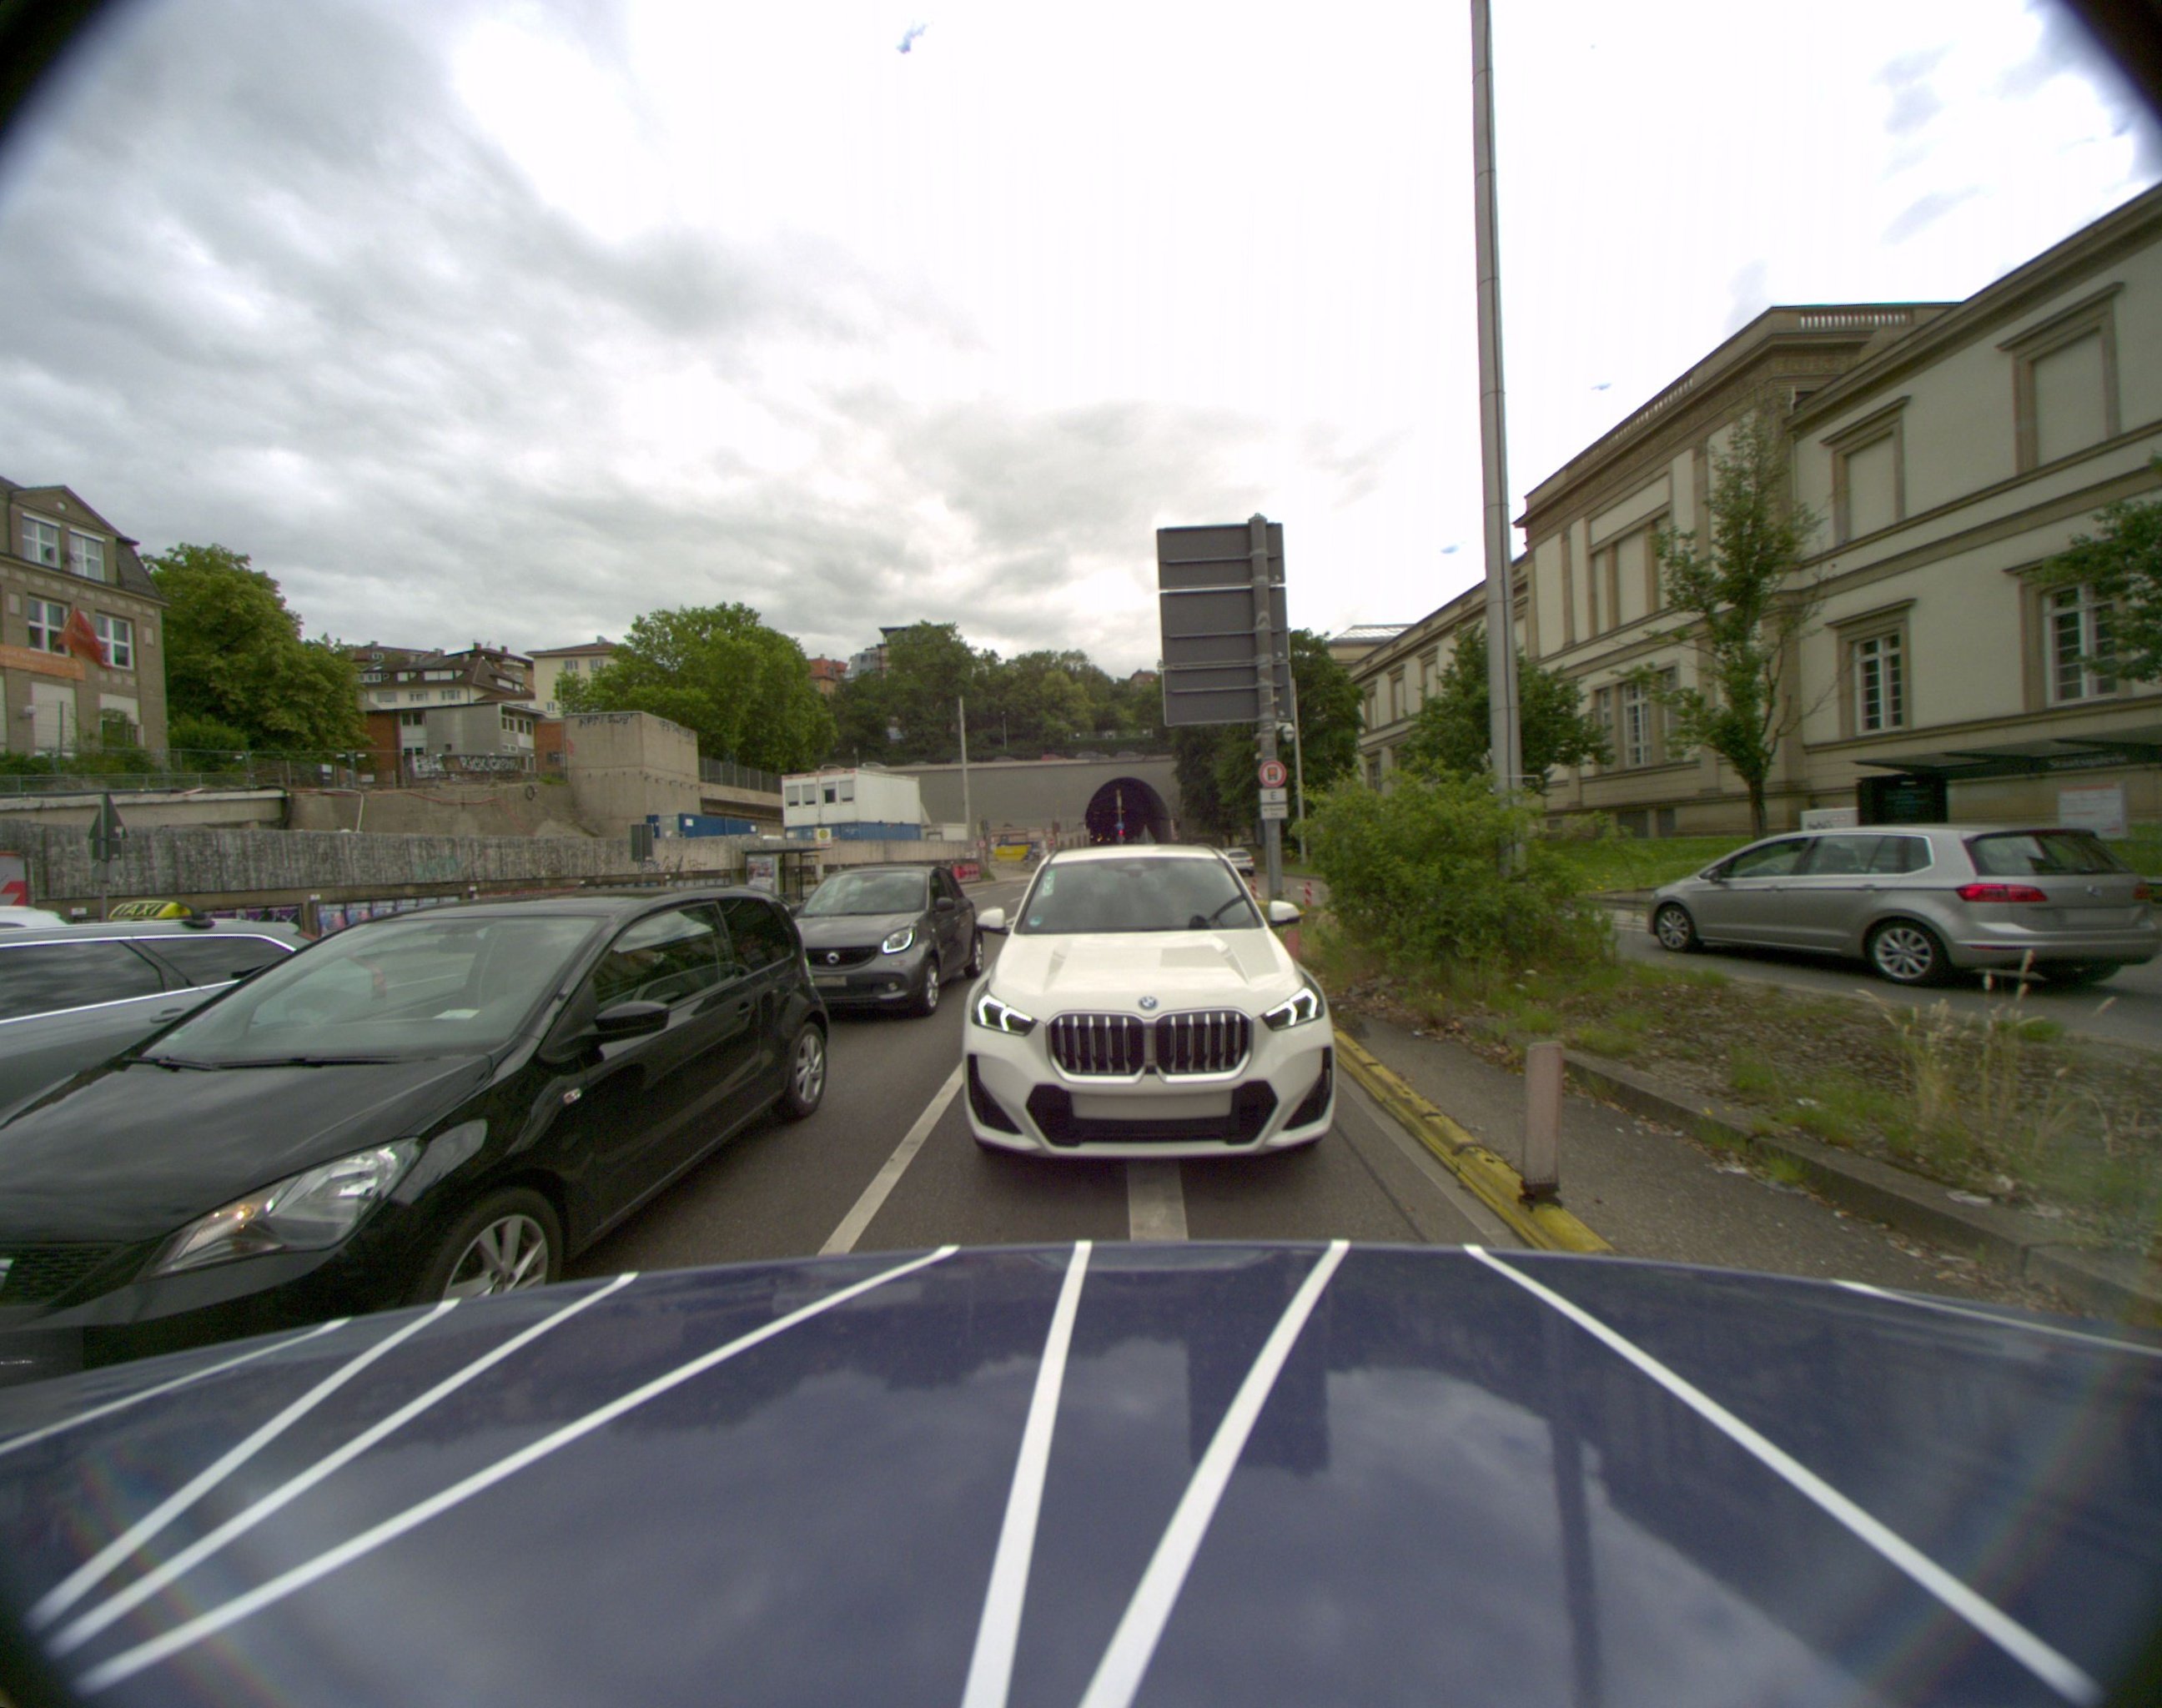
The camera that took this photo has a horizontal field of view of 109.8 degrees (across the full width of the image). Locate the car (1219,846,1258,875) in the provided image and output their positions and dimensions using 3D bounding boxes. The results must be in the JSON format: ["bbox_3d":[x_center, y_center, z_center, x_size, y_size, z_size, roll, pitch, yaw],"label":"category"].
[{"bbox_3d":[9.494,0.402,45.989,1.902,1.615,4.110,-2,0,7],"label":"car"}]

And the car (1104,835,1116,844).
[{"bbox_3d":[4.266,-2.122,112.723,1.680,1.358,3.806,-2,1,1],"label":"car"}]

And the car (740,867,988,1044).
[{"bbox_3d":[-2.250,0.984,8.895,1.720,1.535,3.575,-2,0,2],"label":"car"}]

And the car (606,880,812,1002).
[{"bbox_3d":[-5.391,1.198,11.387,1.665,1.423,2.714,-2,1,1],"label":"car"}]

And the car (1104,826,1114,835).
[{"bbox_3d":[5.712,-4.885,156.239,1.946,1.714,4.000,-2,1,4],"label":"car"}]

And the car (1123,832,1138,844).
[{"bbox_3d":[6.886,-2.222,106.517,1.778,1.609,3.802,-2,1,-1],"label":"car"}]

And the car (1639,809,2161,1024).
[{"bbox_3d":[8.512,0.490,8.298,1.836,1.736,3.999,-2,1,0],"label":"car"}]

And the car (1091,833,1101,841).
[{"bbox_3d":[2.589,-2.987,132.430,1.680,1.358,3.806,-2,1,1],"label":"car"}]

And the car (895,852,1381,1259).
[{"bbox_3d":[0.267,0.852,5.029,1.987,1.615,3.670,-2,1,1],"label":"car"}]

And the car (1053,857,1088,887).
[{"bbox_3d":[-0.529,0.952,42.304,1.680,1.450,3.807,-2,1,3],"label":"car"}]

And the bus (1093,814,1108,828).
[{"bbox_3d":[4.780,-8.121,187.866,3.171,3.129,9.118,-2,1,-1],"label":"bus"}]

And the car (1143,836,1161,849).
[{"bbox_3d":[8.320,-1.330,88.996,1.646,1.469,3.574,-2,0,-2],"label":"car"}]

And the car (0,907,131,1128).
[{"bbox_3d":[-9.103,1.323,4.448,1.680,1.615,4.209,-2,1,1],"label":"car"}]

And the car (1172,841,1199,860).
[{"bbox_3d":[9.582,-0.333,70.123,1.875,1.681,4.267,-2,1,0],"label":"car"}]

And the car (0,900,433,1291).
[{"bbox_3d":[-5.853,1.212,3.307,1.829,1.615,4.808,-2,1,1],"label":"car"}]

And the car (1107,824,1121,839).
[{"bbox_3d":[5.677,-3.831,129.323,2.203,2.493,4.758,-2,1,2],"label":"car"}]

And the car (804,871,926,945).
[{"bbox_3d":[-4.914,1.170,17.816,1.680,1.358,3.806,-2,1,1],"label":"car"}]

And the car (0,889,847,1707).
[{"bbox_3d":[-2.567,1.022,3.346,1.829,1.450,3.700,-2,1,1],"label":"car"}]
